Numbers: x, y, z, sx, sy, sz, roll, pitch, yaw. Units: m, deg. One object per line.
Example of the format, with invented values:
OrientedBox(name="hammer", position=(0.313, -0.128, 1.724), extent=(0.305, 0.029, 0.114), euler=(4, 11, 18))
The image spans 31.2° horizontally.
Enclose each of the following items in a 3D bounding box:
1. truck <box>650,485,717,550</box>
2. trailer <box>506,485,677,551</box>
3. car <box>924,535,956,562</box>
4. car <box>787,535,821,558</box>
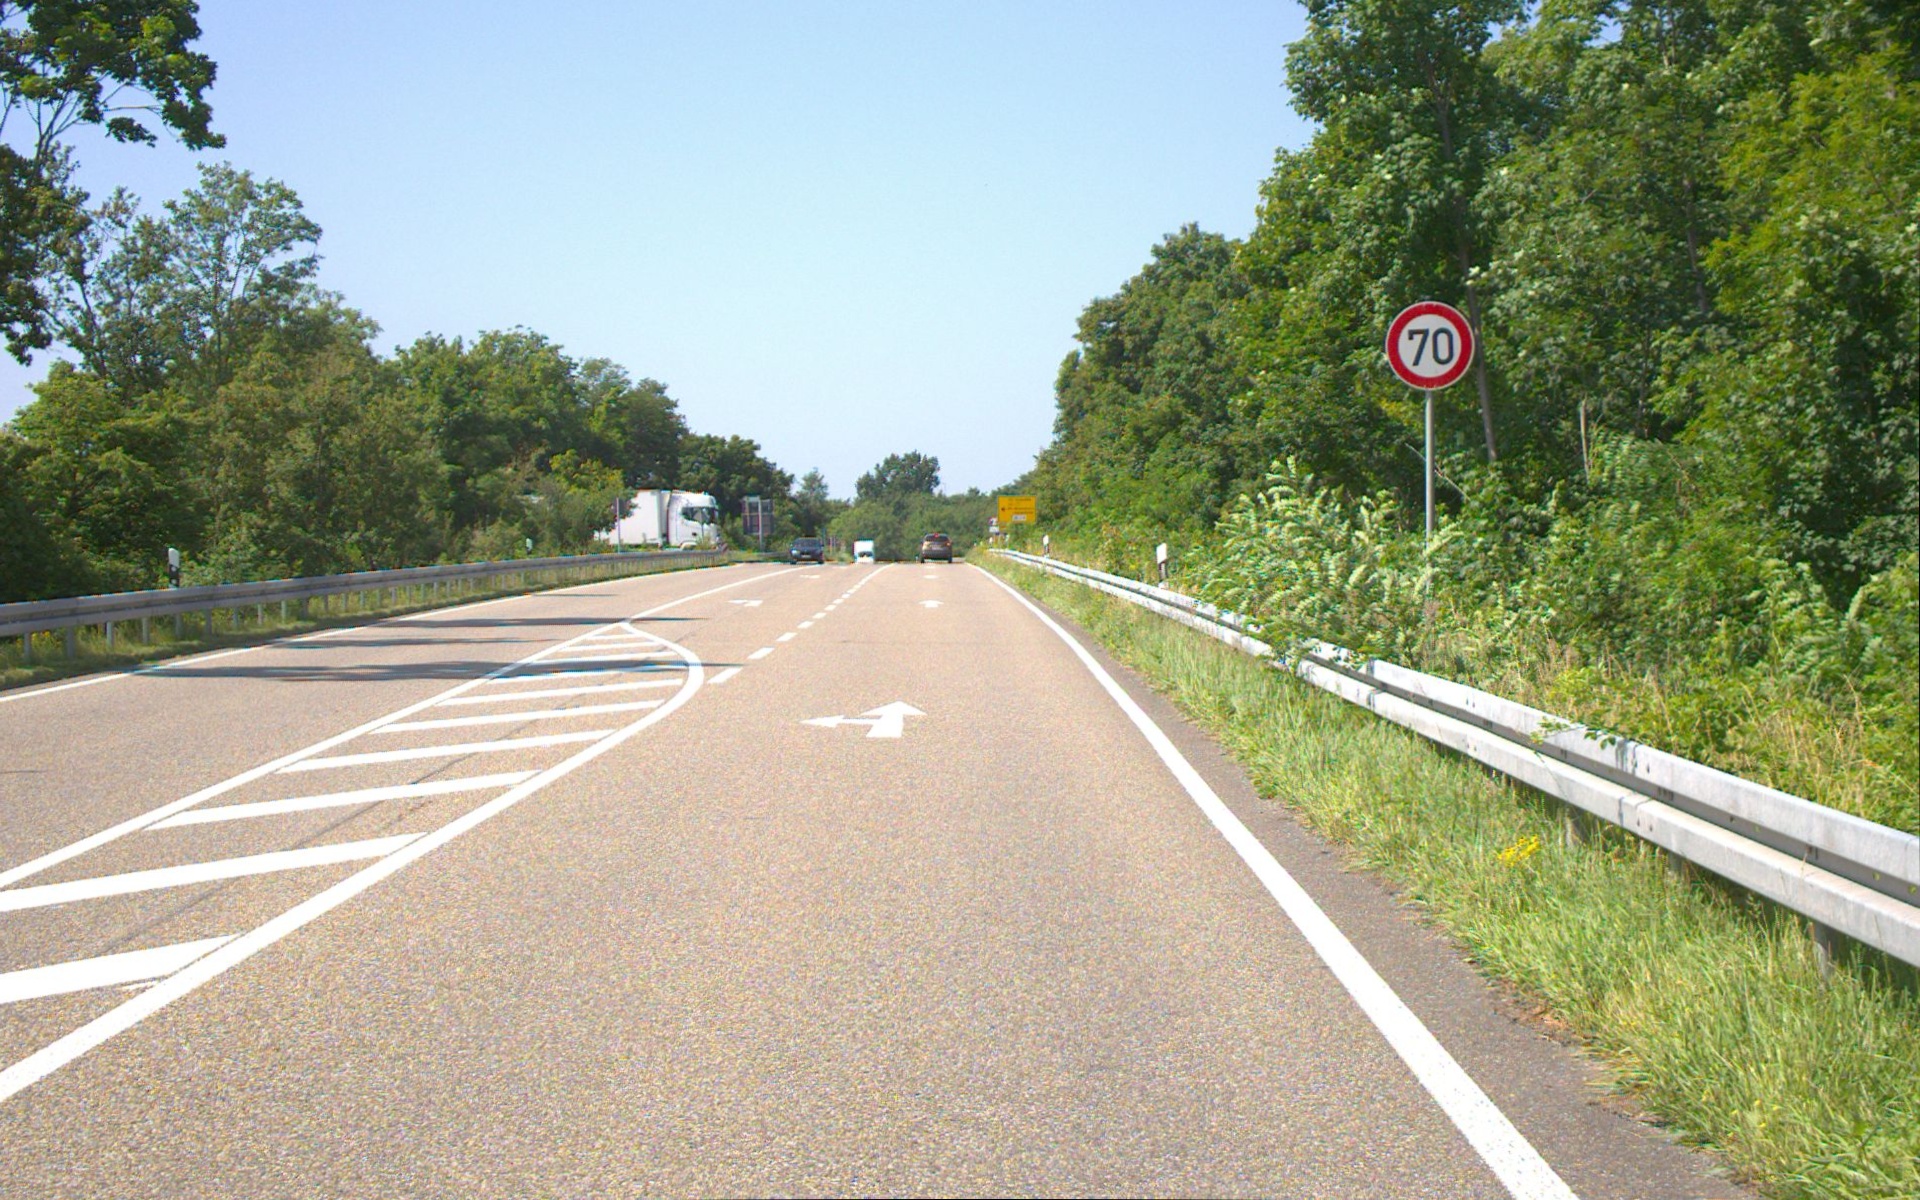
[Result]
OrientedBox(name="truck", position=(-15.034, -4.483, 187.204), extent=(3.465, 3.525, 2.000), euler=(0, 1, 2))
OrientedBox(name="trailer", position=(-20.054, -4.489, 187.364), extent=(9.102, 3.566, 2.000), euler=(0, 1, 2))
OrientedBox(name="car", position=(-1.099, -2.853, 189.066), extent=(1.741, 1.465, 3.693), euler=(0, 1, 0))
OrientedBox(name="car", position=(-8.789, -3.025, 193.864), extent=(1.730, 1.263, 3.905), euler=(0, 1, 0))
